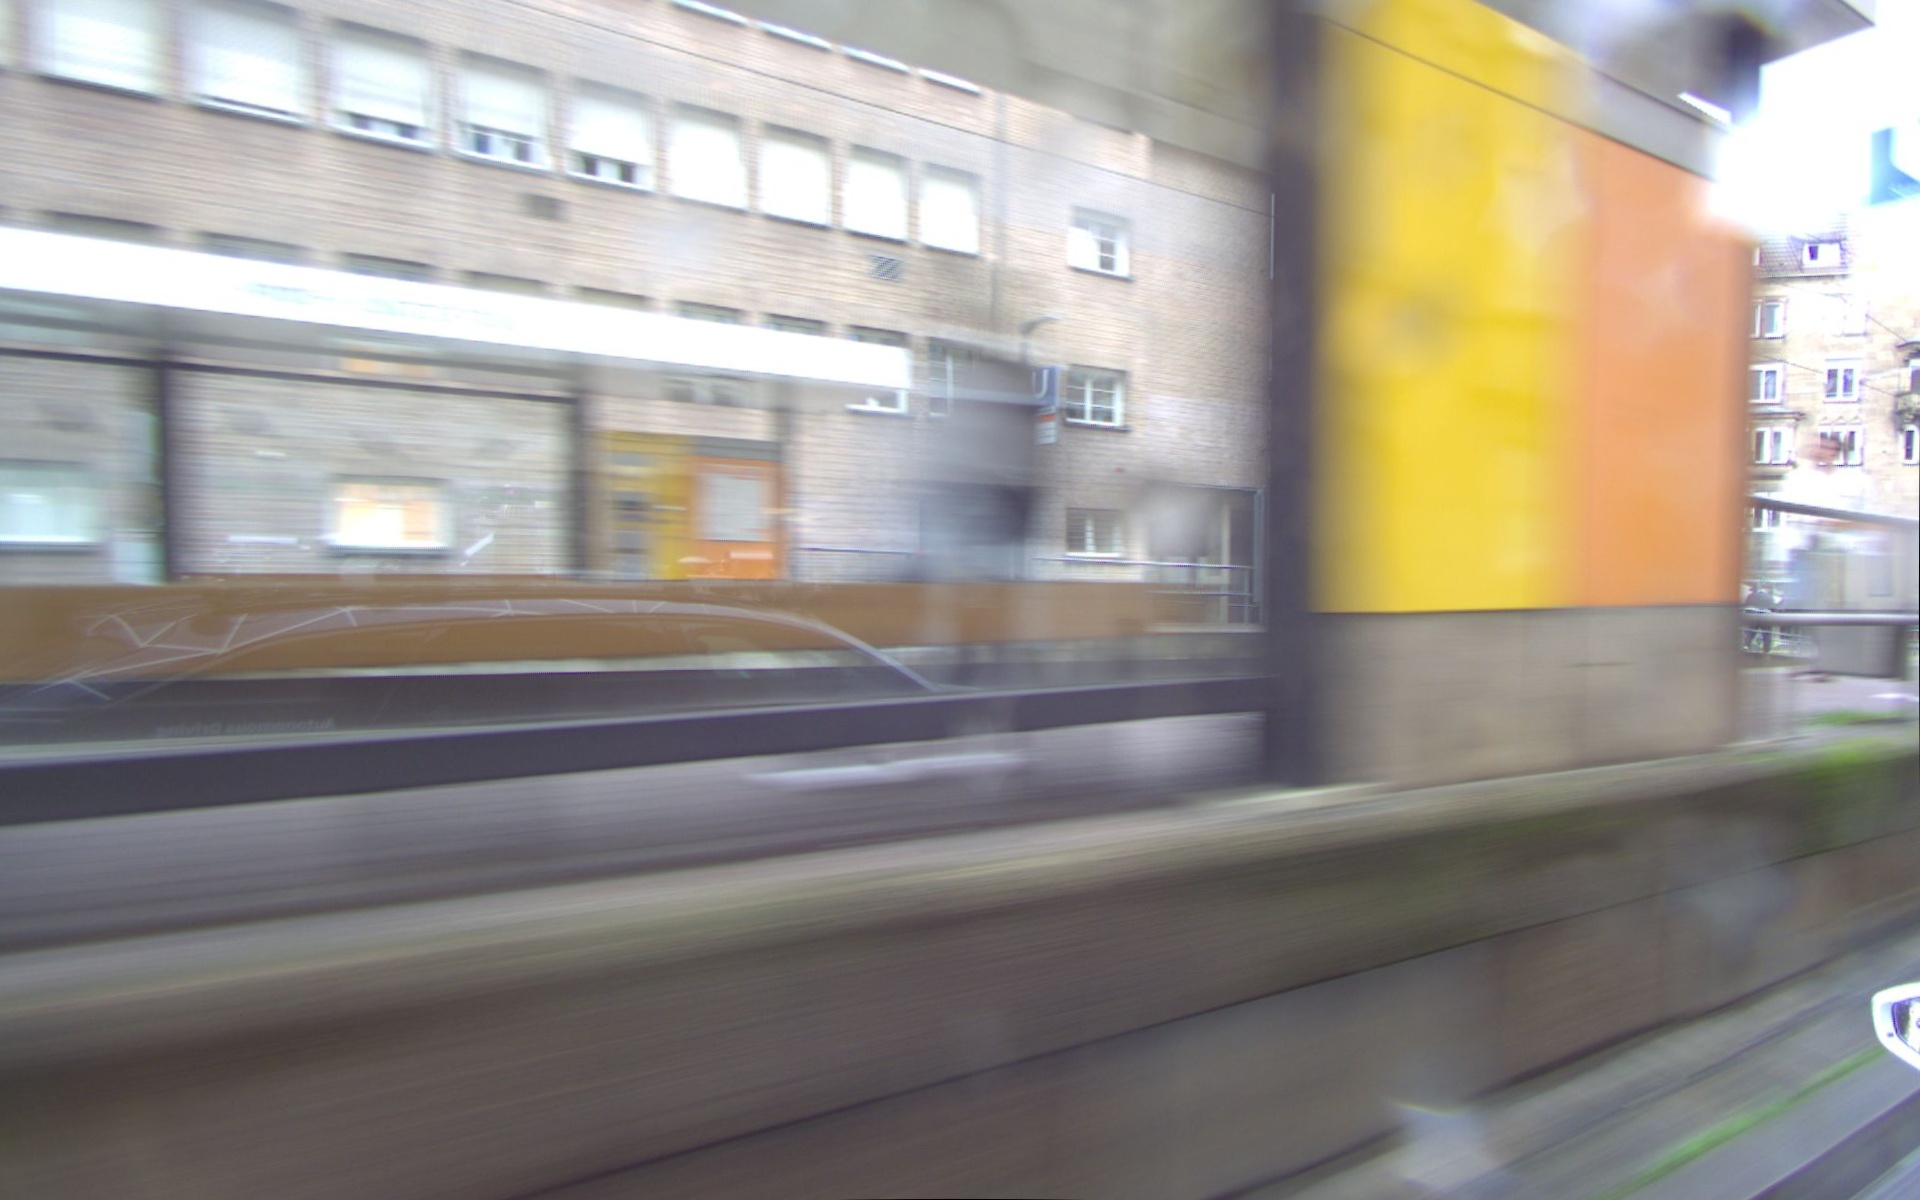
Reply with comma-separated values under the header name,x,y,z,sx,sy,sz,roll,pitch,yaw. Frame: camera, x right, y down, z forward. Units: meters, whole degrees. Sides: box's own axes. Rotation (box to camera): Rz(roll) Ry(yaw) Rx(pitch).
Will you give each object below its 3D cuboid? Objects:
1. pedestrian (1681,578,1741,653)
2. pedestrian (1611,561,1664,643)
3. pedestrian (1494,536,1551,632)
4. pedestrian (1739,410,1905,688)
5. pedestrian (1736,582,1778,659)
name,x,y,z,sx,sy,sz,roll,pitch,yaw
pedestrian,16.408,0.339,21.956,0.945,1.604,0.689,2,0,-30
pedestrian,14.301,0.063,21.208,0.633,1.668,0.740,3,-3,-30
pedestrian,10.393,-0.289,18.567,0.681,1.721,0.660,1,0,-34
pedestrian,5.950,-0.329,6.944,0.702,1.798,0.640,1,1,-30
pedestrian,19.297,0.486,24.329,0.790,1.842,0.508,1,1,-30
